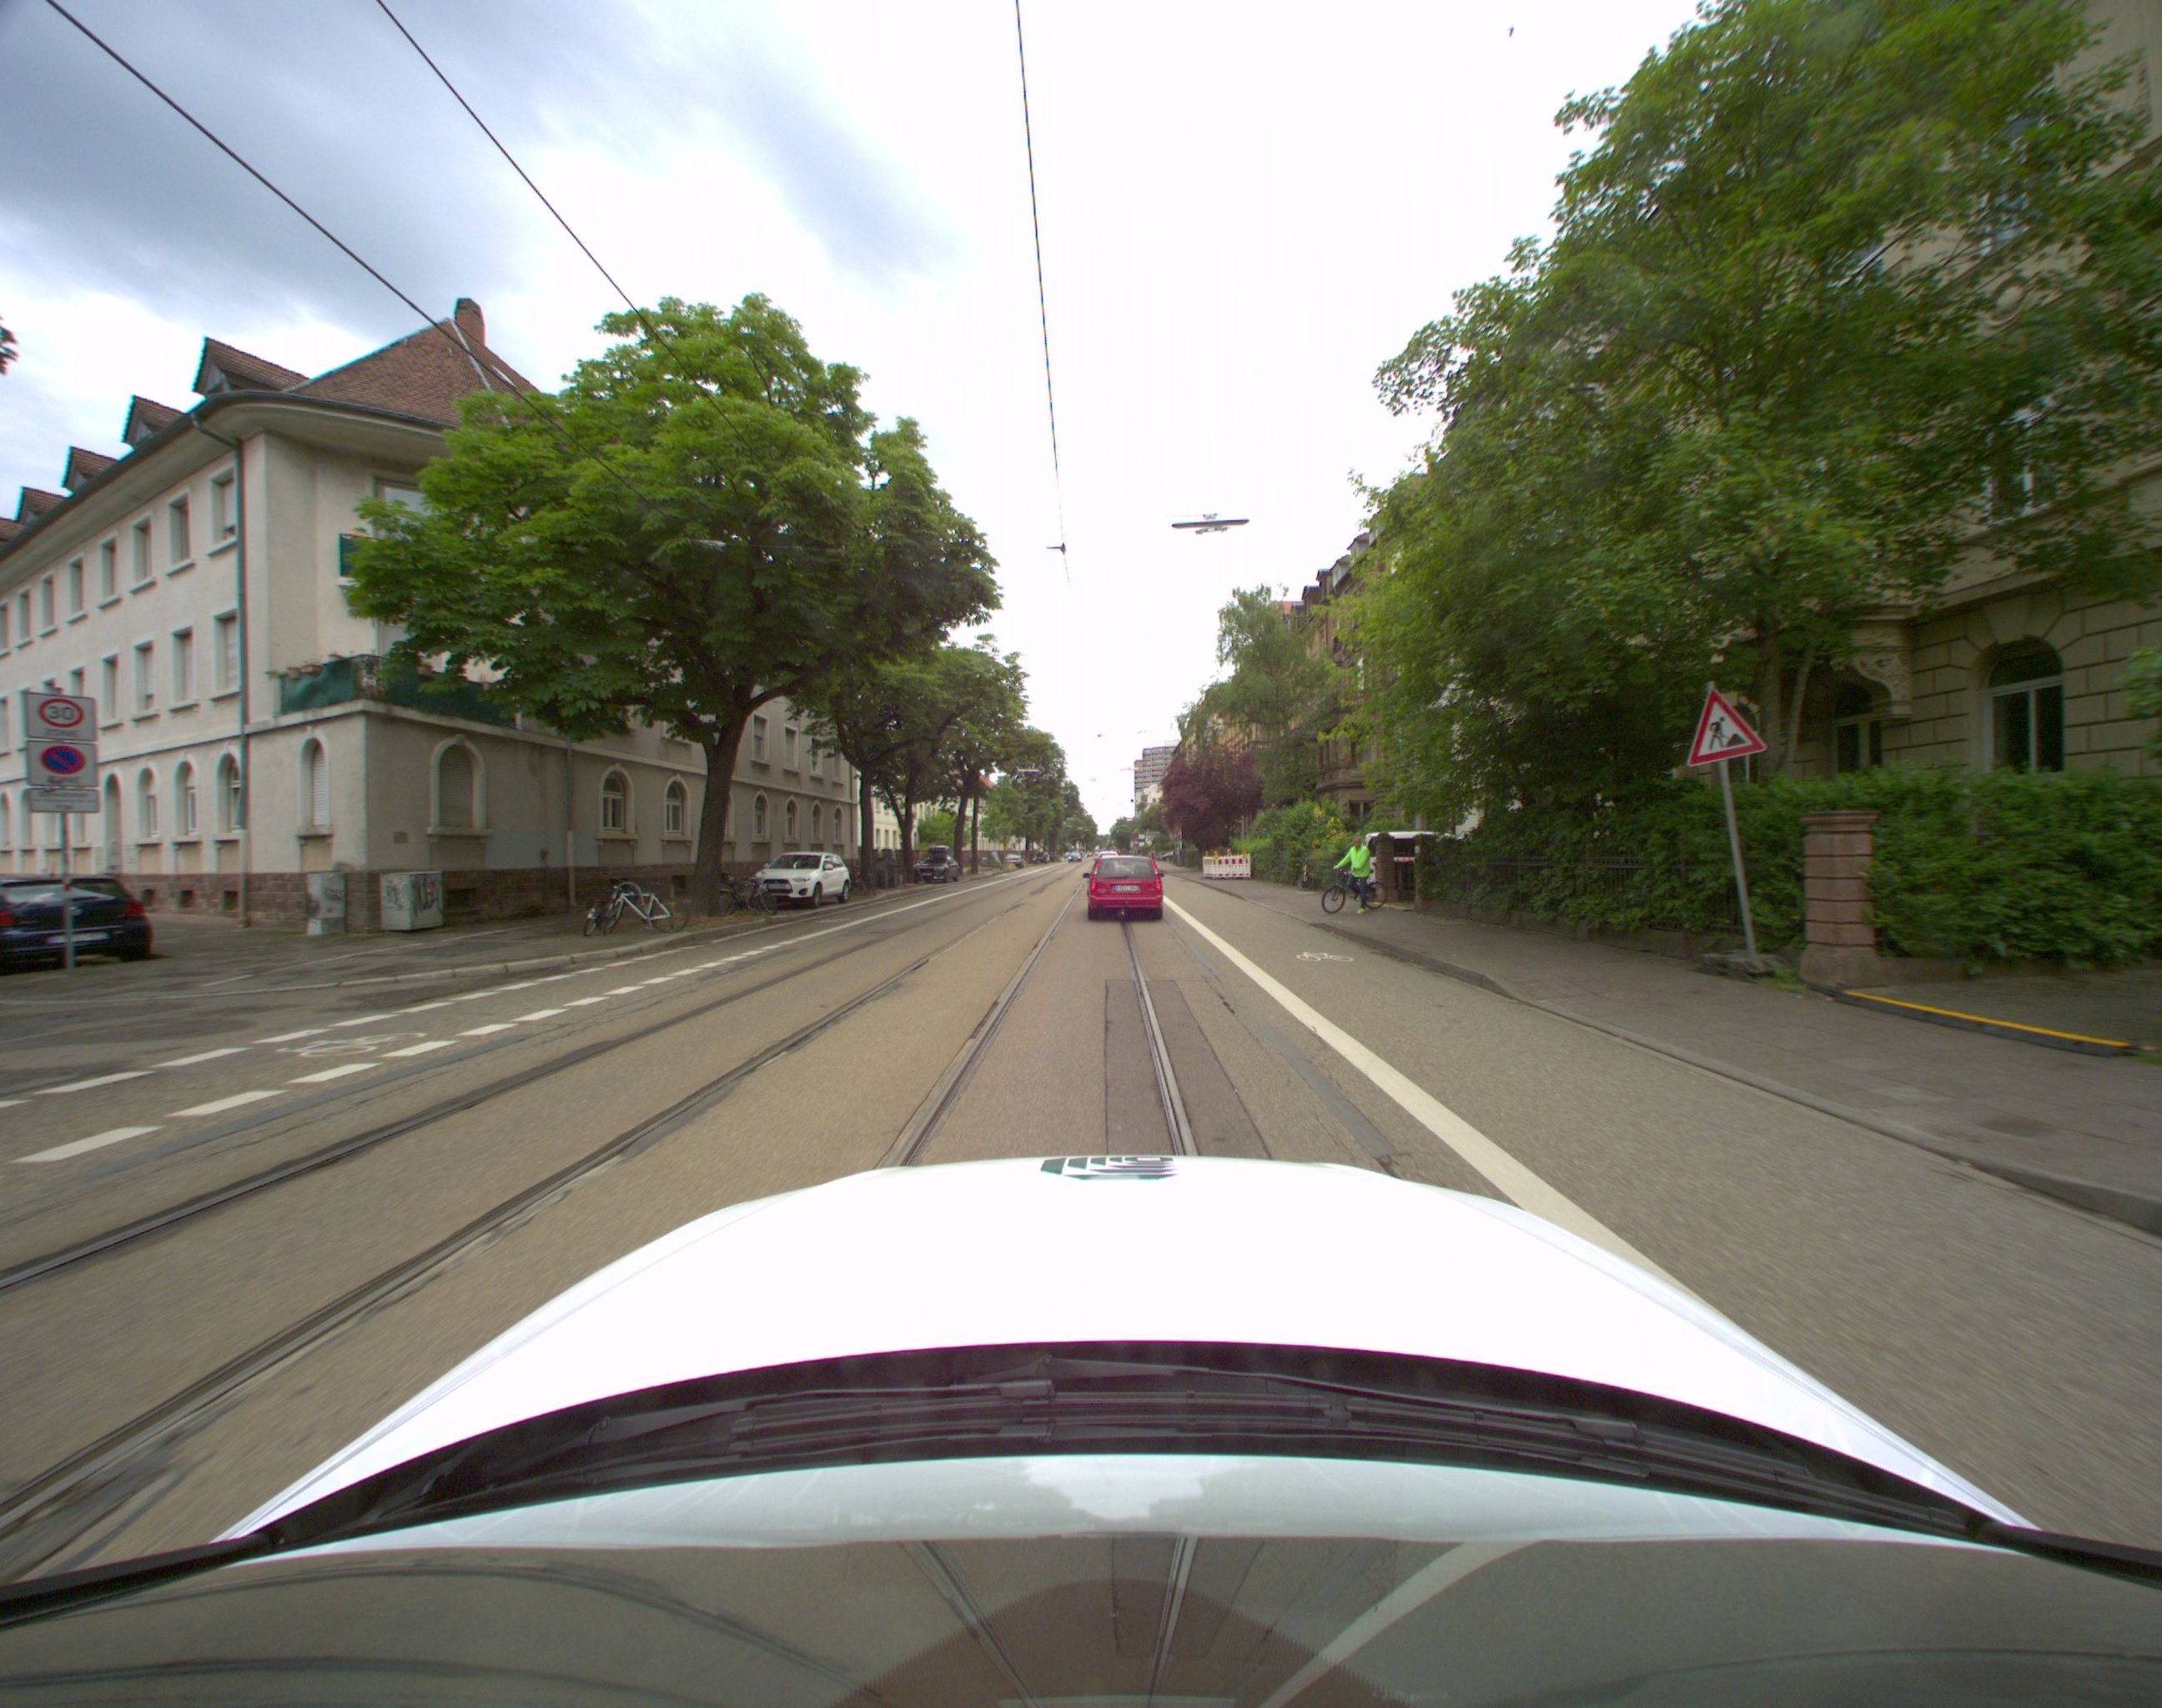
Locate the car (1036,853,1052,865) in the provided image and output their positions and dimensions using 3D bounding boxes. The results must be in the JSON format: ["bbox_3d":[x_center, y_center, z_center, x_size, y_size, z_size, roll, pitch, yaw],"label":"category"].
[{"bbox_3d":[-5.010,0.656,110.245,1.844,1.563,3.944,-1,0,2],"label":"car"}]

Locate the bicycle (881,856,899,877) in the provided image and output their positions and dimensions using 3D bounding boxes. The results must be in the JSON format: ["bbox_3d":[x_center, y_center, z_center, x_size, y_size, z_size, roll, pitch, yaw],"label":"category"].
[{"bbox_3d":[-12.812,0.805,54.573,0.625,1.382,2.142,-1,0,2],"label":"bicycle"}]

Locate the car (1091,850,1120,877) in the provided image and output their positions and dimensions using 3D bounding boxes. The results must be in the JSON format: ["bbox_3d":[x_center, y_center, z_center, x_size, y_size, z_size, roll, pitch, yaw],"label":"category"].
[{"bbox_3d":[1.593,0.581,51.516,1.711,1.624,3.945,-1,0,4],"label":"car"}]

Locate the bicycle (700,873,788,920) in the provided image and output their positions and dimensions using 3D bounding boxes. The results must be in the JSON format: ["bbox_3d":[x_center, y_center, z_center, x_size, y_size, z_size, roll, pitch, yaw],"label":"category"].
[{"bbox_3d":[-8.332,1.041,20.169,1.915,1.121,0.624,1,0,1],"label":"bicycle"}]

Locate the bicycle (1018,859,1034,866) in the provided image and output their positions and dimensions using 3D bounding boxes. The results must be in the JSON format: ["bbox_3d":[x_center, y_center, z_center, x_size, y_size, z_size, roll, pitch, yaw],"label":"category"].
[{"bbox_3d":[-6.455,1.014,95.382,1.742,0.844,0.684,-1,0,2],"label":"bicycle"}]

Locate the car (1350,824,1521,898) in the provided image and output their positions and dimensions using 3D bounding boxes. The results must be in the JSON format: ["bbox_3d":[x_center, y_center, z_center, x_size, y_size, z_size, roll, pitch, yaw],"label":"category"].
[{"bbox_3d":[9.802,0.190,22.754,3.972,1.858,1.809,-2,0,1],"label":"car"}]

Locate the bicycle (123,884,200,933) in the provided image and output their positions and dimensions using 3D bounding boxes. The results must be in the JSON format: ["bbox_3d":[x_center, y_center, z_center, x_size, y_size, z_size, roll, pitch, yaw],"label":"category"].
[{"bbox_3d":[-20.380,1.187,18.048,1.998,1.000,0.699,-1,0,29],"label":"bicycle"}]

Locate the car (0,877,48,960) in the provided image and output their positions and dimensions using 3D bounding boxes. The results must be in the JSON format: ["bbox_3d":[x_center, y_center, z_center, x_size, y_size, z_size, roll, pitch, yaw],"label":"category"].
[{"bbox_3d":[-21.293,1.191,15.111,3.897,1.464,1.716,-1,0,24],"label":"car"}]

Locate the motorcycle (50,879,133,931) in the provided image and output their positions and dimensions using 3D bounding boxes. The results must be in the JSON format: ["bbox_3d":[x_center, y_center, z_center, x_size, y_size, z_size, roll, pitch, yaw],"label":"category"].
[{"bbox_3d":[-23.909,1.199,19.652,3.412,1.134,0.683,-1,0,30],"label":"motorcycle"}]

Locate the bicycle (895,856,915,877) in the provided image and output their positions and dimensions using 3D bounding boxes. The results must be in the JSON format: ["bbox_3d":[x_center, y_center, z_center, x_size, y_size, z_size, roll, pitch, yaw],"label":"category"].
[{"bbox_3d":[-11.732,0.809,54.403,0.789,1.382,2.142,-1,0,2],"label":"bicycle"}]

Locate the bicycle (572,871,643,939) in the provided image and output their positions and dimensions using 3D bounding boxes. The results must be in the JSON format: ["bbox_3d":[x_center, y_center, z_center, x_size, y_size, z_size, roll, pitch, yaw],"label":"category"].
[{"bbox_3d":[-9.102,0.945,15.734,0.676,1.135,1.927,-1,1,-15],"label":"bicycle"}]

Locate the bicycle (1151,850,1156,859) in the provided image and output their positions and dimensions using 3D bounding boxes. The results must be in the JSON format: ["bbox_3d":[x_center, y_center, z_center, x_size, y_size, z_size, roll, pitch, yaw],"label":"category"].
[{"bbox_3d":[10.377,0.063,116.702,0.705,1.300,1.905,-1,0,2],"label":"bicycle"}]

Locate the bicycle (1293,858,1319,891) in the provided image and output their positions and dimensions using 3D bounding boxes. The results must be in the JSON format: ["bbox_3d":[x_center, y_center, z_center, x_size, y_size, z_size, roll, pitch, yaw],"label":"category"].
[{"bbox_3d":[7.482,0.675,27.170,0.477,1.045,1.532,-1,0,2],"label":"bicycle"}]

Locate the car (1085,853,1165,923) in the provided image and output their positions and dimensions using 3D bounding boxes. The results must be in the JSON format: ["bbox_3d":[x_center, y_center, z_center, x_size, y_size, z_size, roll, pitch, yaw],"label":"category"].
[{"bbox_3d":[0.976,0.721,19.043,1.683,1.441,3.744,0,0,1],"label":"car"}]

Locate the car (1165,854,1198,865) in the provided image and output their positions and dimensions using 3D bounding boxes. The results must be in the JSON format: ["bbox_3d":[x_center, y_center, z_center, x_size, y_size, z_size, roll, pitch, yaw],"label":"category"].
[{"bbox_3d":[13.060,0.686,105.791,3.961,1.361,1.898,-1,0,11],"label":"car"}]

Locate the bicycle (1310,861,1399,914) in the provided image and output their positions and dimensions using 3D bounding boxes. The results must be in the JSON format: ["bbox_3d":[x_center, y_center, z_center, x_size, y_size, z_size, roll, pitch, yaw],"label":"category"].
[{"bbox_3d":[6.401,0.780,19.115,1.835,1.076,0.606,-5,0,0],"label":"bicycle"}]

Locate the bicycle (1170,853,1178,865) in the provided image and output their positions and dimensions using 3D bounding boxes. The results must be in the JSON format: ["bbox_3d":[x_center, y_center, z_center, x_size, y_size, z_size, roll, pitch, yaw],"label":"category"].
[{"bbox_3d":[8.638,0.459,75.843,0.521,1.030,2.177,-2,0,1],"label":"bicycle"}]

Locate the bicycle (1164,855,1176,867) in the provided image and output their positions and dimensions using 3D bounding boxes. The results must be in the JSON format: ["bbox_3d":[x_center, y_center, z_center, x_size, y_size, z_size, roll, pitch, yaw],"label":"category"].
[{"bbox_3d":[11.065,0.868,101.128,0.910,1.507,2.392,-1,0,18],"label":"bicycle"}]

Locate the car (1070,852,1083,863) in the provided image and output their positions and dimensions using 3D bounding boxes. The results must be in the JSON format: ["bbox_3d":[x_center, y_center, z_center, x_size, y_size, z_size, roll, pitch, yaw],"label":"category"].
[{"bbox_3d":[-0.592,0.470,114.503,1.749,1.380,4.027,-1,0,1],"label":"car"}]

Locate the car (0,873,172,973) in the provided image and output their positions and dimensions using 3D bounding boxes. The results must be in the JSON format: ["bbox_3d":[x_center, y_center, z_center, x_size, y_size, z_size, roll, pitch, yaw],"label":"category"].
[{"bbox_3d":[-16.019,0.984,12.463,3.715,1.307,1.751,-1,0,24],"label":"car"}]

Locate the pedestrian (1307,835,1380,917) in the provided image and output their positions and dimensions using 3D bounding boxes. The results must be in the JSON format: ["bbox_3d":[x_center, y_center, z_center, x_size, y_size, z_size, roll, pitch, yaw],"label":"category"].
[{"bbox_3d":[5.985,0.482,18.623,1.224,1.732,1.018,-4,0,1],"label":"pedestrian"}]

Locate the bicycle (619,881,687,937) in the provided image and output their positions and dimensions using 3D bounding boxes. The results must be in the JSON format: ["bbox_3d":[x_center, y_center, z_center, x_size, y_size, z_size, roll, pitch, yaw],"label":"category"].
[{"bbox_3d":[-8.133,1.029,15.536,0.481,0.958,1.398,-1,0,3],"label":"bicycle"}]

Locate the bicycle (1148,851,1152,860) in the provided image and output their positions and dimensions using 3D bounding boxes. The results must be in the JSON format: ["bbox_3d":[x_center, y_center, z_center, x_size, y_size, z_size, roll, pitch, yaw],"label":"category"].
[{"bbox_3d":[10.255,0.208,120.852,0.549,1.400,1.734,-1,0,2],"label":"bicycle"}]

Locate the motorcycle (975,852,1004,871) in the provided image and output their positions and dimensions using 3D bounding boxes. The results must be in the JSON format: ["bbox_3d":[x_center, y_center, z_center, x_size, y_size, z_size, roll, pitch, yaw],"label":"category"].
[{"bbox_3d":[-7.316,0.634,65.186,2.243,1.511,0.932,-1,-2,36],"label":"motorcycle"}]

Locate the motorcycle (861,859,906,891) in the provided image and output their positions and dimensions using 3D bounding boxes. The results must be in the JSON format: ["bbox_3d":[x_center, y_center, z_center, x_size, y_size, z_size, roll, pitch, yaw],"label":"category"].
[{"bbox_3d":[-8.337,0.855,34.468,0.857,1.288,2.331,0,0,15],"label":"motorcycle"}]

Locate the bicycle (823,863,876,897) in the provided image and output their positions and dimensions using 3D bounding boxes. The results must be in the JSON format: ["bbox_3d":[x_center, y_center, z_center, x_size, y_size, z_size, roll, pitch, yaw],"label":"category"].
[{"bbox_3d":[-8.422,0.930,29.636,1.730,1.192,0.655,1,0,15],"label":"bicycle"}]

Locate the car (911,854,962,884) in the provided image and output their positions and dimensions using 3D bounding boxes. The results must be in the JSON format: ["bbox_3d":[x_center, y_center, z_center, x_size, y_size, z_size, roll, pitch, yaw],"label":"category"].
[{"bbox_3d":[-7.616,0.779,43.348,1.770,1.511,4.240,0,0,2],"label":"car"}]

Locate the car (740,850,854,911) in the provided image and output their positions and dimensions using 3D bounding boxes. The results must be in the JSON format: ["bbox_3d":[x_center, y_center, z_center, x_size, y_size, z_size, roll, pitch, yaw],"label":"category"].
[{"bbox_3d":[-8.334,0.727,24.329,1.891,1.655,4.225,0,0,1],"label":"car"}]
